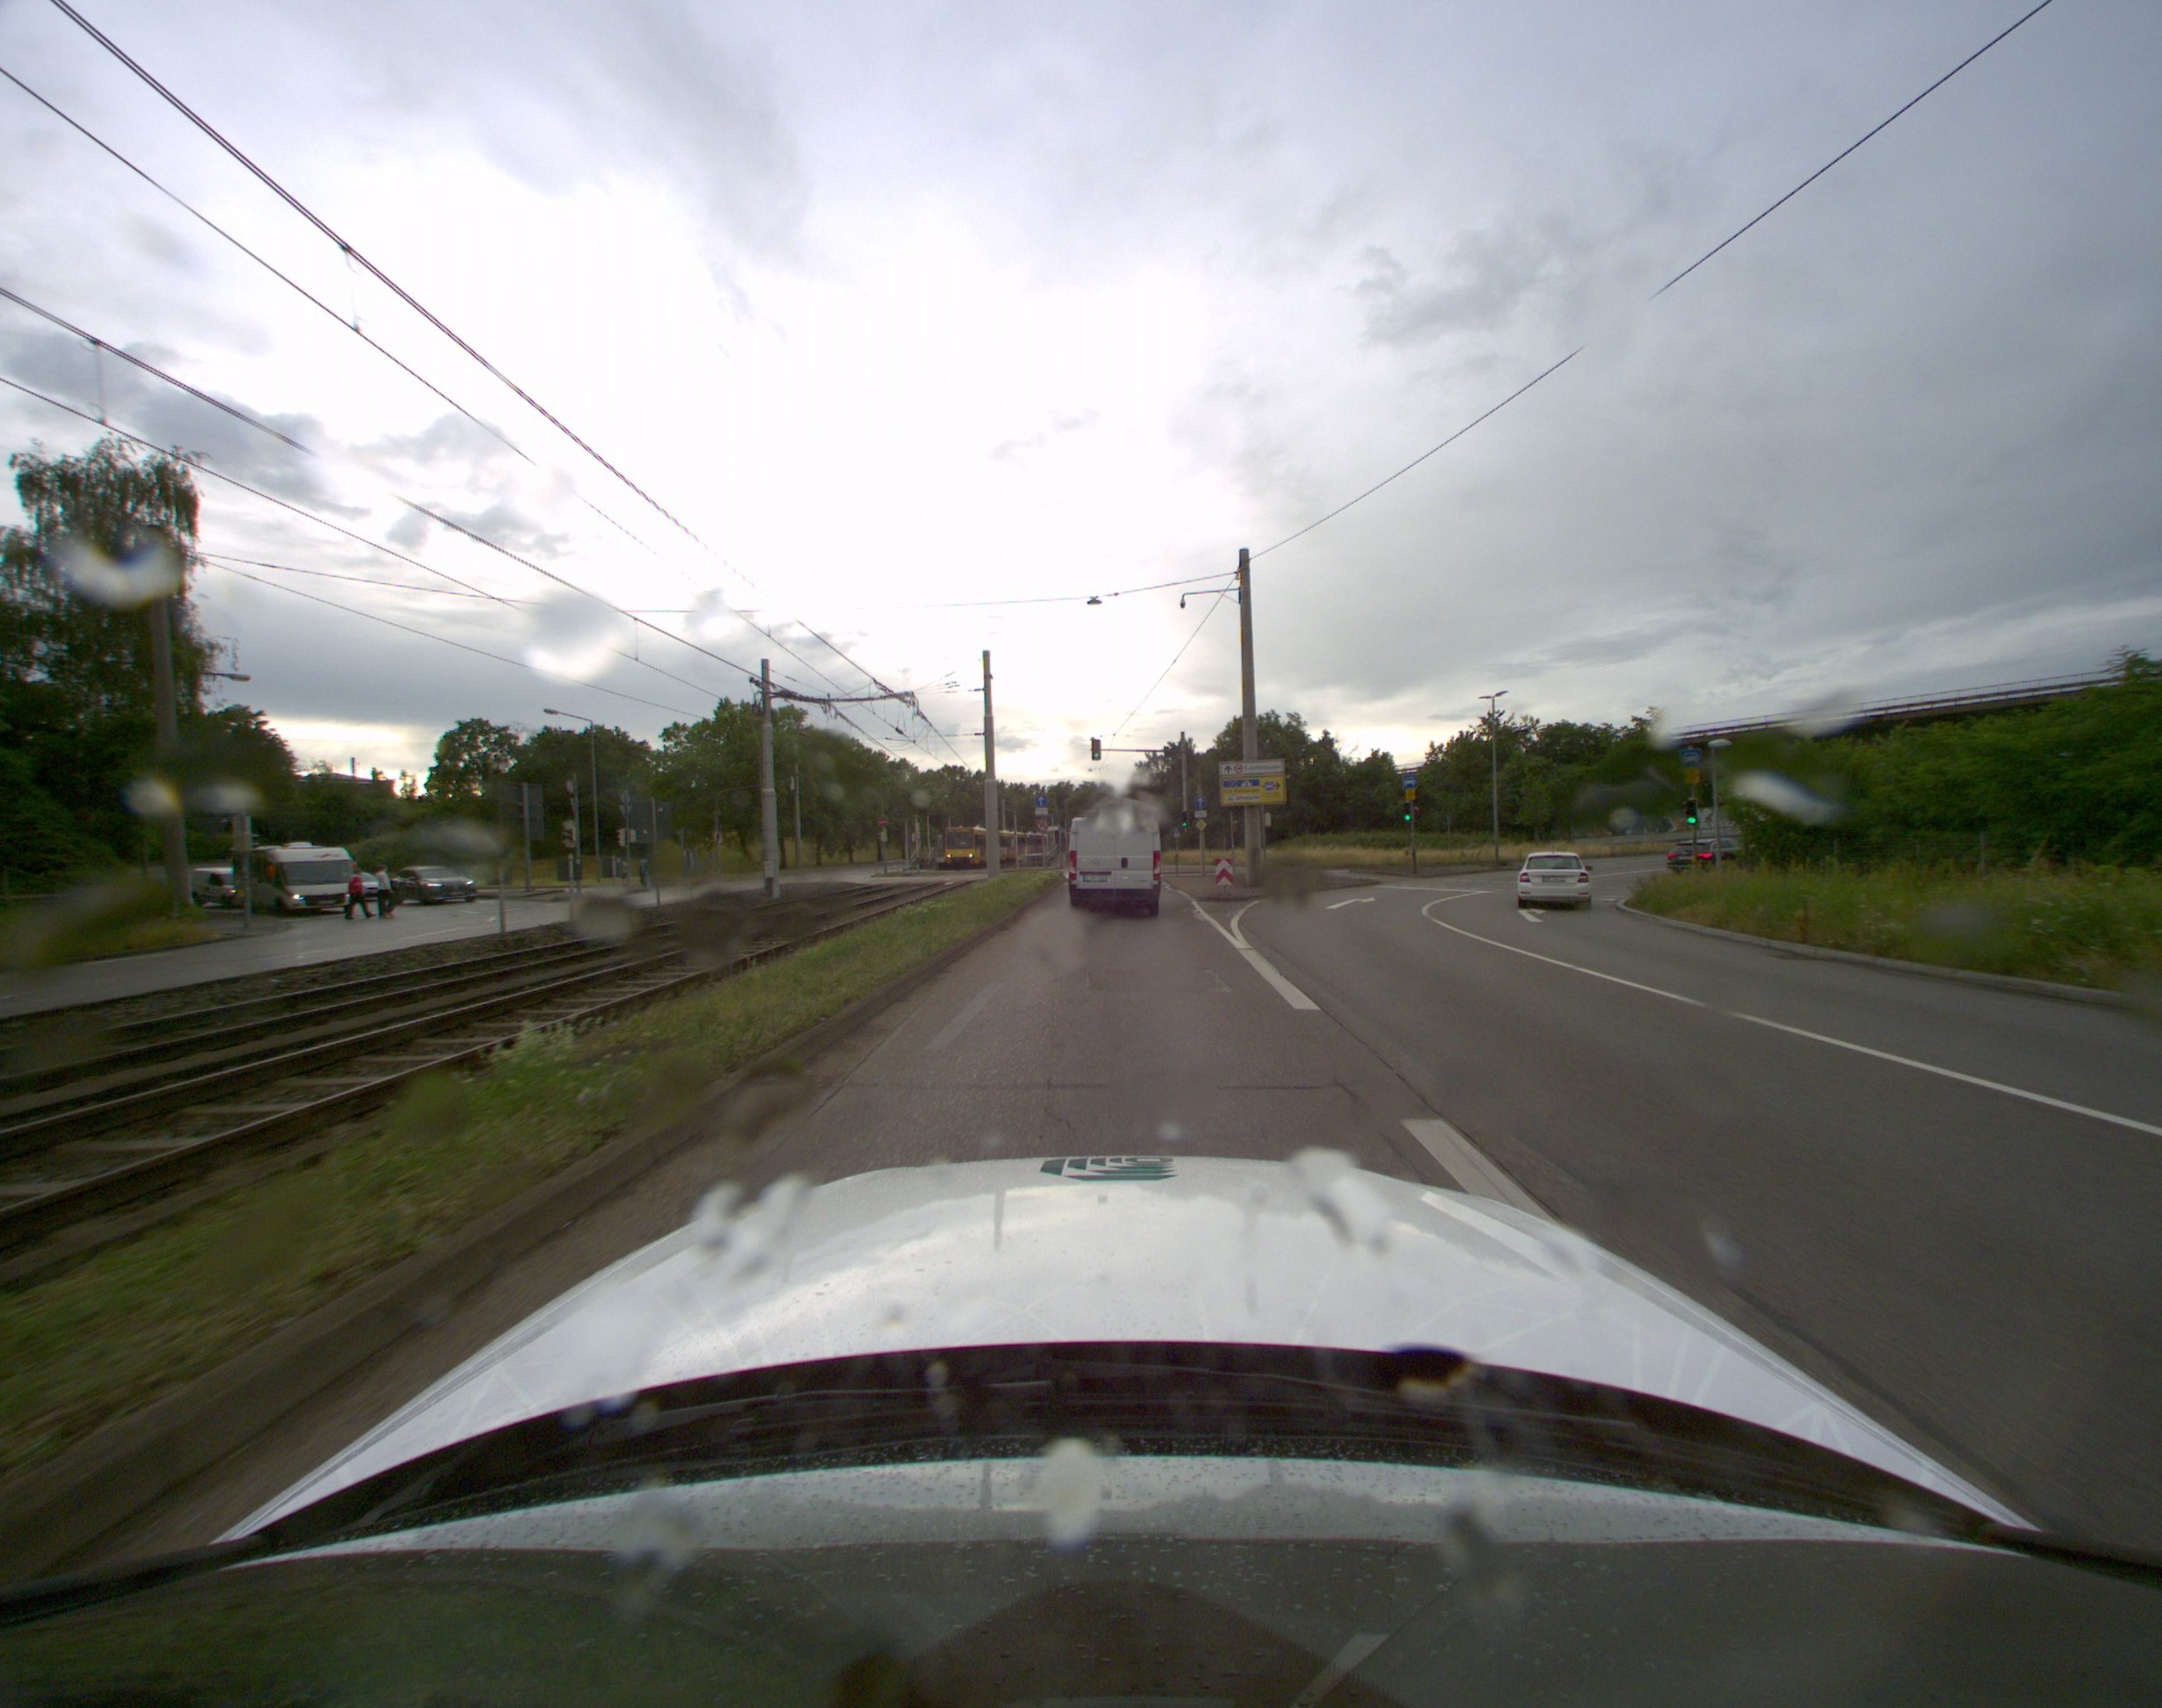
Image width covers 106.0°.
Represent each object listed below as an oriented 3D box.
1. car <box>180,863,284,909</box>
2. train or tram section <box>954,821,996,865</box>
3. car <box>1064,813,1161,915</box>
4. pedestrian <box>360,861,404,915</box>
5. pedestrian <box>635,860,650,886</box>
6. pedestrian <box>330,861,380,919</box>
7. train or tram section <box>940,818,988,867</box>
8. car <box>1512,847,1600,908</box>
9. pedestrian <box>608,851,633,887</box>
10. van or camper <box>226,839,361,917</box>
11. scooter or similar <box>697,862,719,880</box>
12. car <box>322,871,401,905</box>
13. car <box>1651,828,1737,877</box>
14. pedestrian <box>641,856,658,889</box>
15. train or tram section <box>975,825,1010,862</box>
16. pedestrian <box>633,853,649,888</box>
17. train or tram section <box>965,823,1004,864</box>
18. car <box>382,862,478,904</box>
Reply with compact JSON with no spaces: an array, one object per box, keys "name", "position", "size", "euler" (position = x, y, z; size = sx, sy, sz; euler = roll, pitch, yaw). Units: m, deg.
[{"name":"car","position":[-40.451,1.510,38.795],"size":[4.469,2.013,2.012],"euler":[-1,1,25]},{"name":"train or tram section","position":[-9.844,-1.023,76.478],"size":[2.918,3.932,7.007],"euler":[0,0,1]},{"name":"car","position":[0.661,0.175,20.058],"size":[2.084,2.196,5.060],"euler":[0,1,-1]},{"name":"pedestrian","position":[-25.214,1.224,29.407],"size":[0.630,1.867,0.956],"euler":[-2,0,8]},{"name":"pedestrian","position":[-25.938,1.112,48.206],"size":[0.494,1.473,0.722],"euler":[0,0,1]},{"name":"pedestrian","position":[-26.139,1.293,29.339],"size":[0.882,2.013,0.947],"euler":[-2,0,7]},{"name":"train or tram section","position":[-9.990,-0.969,70.202],"size":[2.918,3.932,7.007],"euler":[0,0,1]},{"name":"car","position":[12.623,0.551,21.828],"size":[1.730,1.457,3.692],"euler":[0,1,25]},{"name":"pedestrian","position":[-26.785,0.873,47.366],"size":[0.886,2.013,0.864],"euler":[-2,0,-6]},{"name":"van or camper","position":[-33.519,0.959,34.583],"size":[7.279,2.966,2.507],"euler":[-1,1,33]},{"name":"scooter or similar","position":[-25.291,1.155,55.187],"size":[0.375,1.161,1.288],"euler":[-1,1,44]},{"name":"car","position":[-36.970,1.735,41.832],"size":[3.949,1.565,1.852],"euler":[-1,1,30]},{"name":"car","position":[25.620,-0.098,34.180],"size":[1.888,1.534,4.024],"euler":[-5,4,23]},{"name":"pedestrian","position":[-24.408,1.037,46.086],"size":[0.504,1.787,0.833],"euler":[0,0,4]},{"name":"train or tram section","position":[-9.573,-1.130,89.036],"size":[2.918,3.932,7.007],"euler":[0,0,1]},{"name":"pedestrian","position":[-24.922,0.938,46.159],"size":[0.493,1.955,0.722],"euler":[0,0,3]},{"name":"train or tram section","position":[-9.700,-1.076,82.725],"size":[2.918,3.932,7.007],"euler":[0,0,1]},{"name":"car","position":[-30.107,1.295,37.640],"size":[4.571,1.732,2.013],"euler":[-1,1,32]}]
